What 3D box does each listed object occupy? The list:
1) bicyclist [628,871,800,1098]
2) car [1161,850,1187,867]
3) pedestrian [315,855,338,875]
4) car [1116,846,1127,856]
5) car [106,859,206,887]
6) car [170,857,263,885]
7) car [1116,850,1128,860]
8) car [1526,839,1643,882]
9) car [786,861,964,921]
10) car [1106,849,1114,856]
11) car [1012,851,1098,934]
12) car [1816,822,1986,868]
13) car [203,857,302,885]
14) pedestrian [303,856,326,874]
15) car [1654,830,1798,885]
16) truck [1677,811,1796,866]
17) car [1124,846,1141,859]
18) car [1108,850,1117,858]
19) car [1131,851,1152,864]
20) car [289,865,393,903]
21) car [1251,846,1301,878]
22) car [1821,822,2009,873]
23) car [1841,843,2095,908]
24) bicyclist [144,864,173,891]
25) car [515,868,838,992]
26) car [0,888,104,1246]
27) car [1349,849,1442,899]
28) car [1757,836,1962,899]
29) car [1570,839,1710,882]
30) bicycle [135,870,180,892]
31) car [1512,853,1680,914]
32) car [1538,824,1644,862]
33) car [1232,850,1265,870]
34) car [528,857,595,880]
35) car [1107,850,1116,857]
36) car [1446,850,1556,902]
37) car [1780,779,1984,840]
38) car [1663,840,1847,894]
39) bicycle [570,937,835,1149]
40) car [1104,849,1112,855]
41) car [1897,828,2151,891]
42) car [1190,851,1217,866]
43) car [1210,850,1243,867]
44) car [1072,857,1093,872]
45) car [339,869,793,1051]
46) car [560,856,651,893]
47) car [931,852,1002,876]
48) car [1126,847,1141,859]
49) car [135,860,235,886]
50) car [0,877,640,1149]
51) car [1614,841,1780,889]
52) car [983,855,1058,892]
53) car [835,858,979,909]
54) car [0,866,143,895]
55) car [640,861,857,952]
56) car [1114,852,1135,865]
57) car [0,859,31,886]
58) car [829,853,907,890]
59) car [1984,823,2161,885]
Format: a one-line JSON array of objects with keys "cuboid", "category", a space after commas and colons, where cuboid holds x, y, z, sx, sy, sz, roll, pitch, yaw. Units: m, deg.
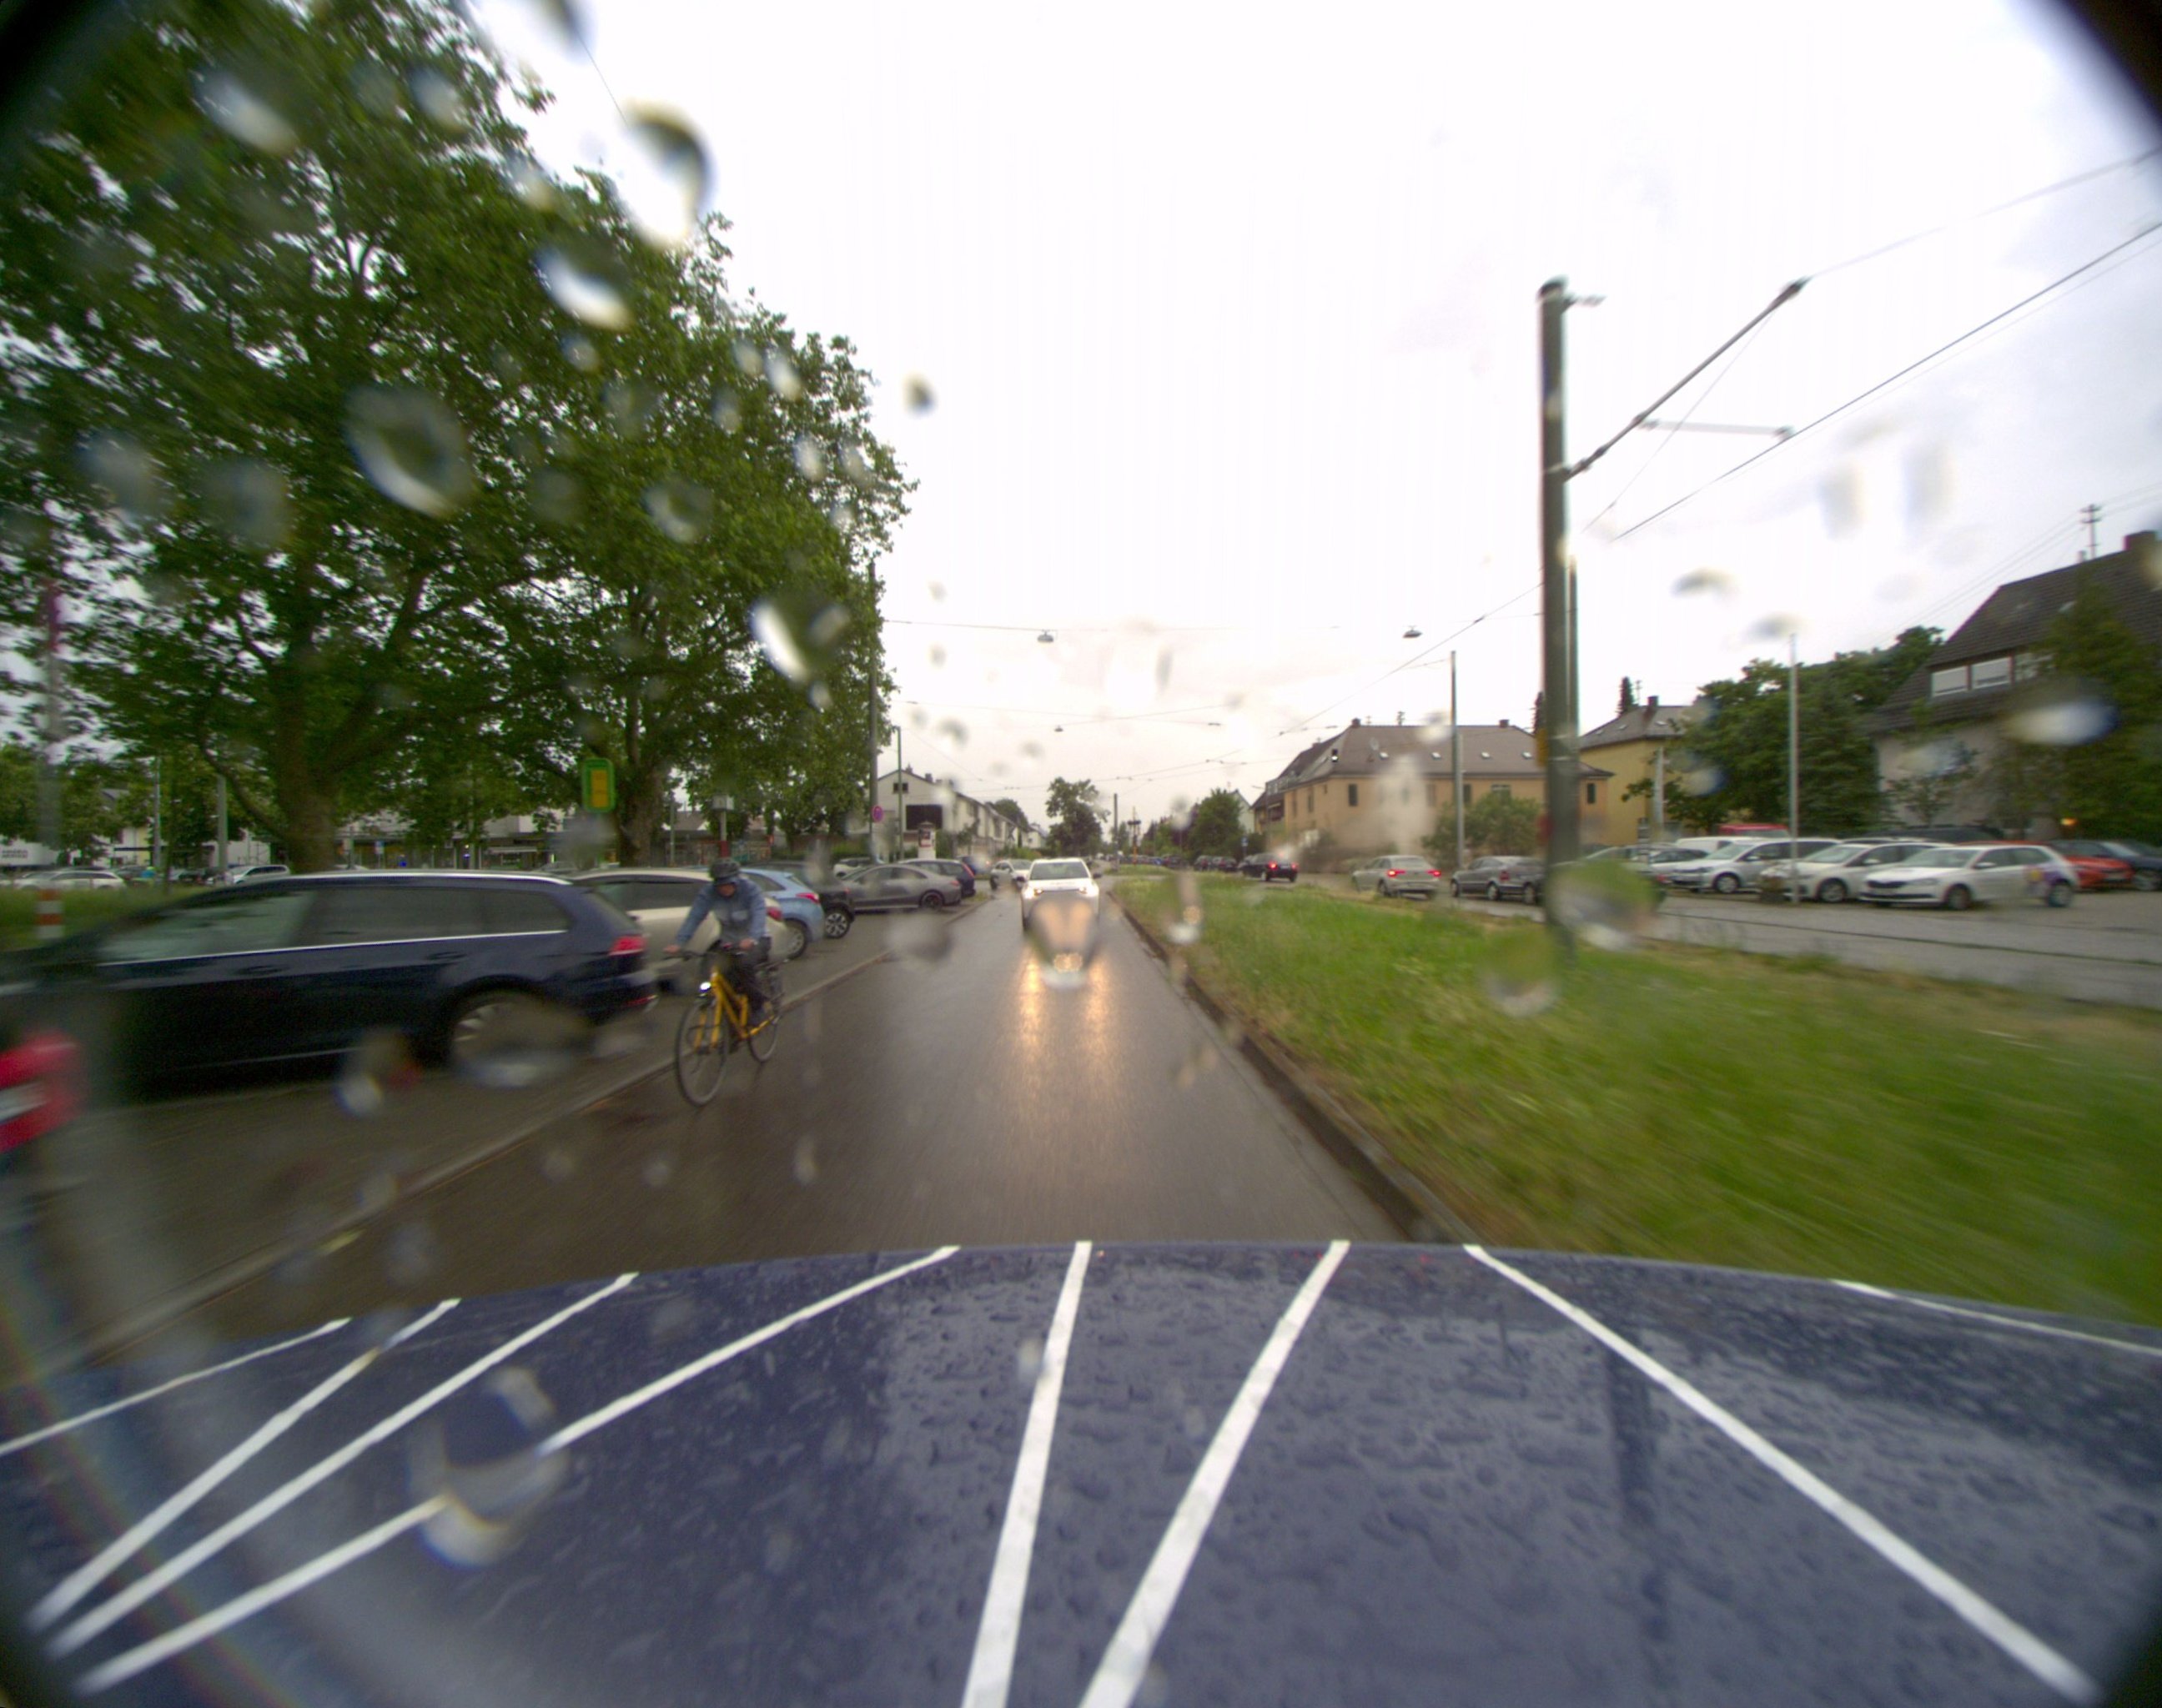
[{"cuboid": [-2.579, 0.868, 5.432, 0.752, 1.476, 0.847, -1, 0, 7], "category": "bicyclist"}, {"cuboid": [10.573, 0.468, 86.933, 2.000, 1.784, 3.995, -1, 2, -7], "category": "car"}, {"cuboid": [-66.075, 0.924, 66.562, 0.946, 1.704, 1.081, 0, 1, 12], "category": "pedestrian"}, {"cuboid": [8.699, -0.602, 163.940, 1.998, 2.023, 3.998, -1, 2, 0], "category": "car"}, {"cuboid": [-64.159, 1.298, 52.820, 1.897, 1.699, 4.090, -1, 2, 0], "category": "car"}, {"cuboid": [-59.425, 1.138, 52.352, 1.792, 1.664, 3.946, -1, 2, 0], "category": "car"}, {"cuboid": [7.813, 0.228, 146.003, 1.999, 1.784, 3.997, -1, 2, -2], "category": "car"}, {"cuboid": [21.147, 0.259, 32.059, 3.989, 1.707, 2.004, -1, 0, 32], "category": "car"}, {"cuboid": [-5.797, 0.974, 21.575, 4.556, 1.467, 1.800, -1, 0, -29], "category": "car"}, {"cuboid": [8.468, -0.435, 222.601, 1.999, 1.784, 3.997, -1, 2, -2], "category": "car"}, {"cuboid": [-0.528, 0.813, 17.833, 1.719, 1.614, 3.714, -3, 1, 1], "category": "car"}, {"cuboid": [32.193, -0.339, 30.076, 1.998, 1.677, 4.447, 0, 0, 2], "category": "car"}, {"cuboid": [-56.995, 1.106, 52.379, 1.998, 1.664, 4.336, -1, 2, 0], "category": "car"}, {"cuboid": [-67.452, 0.930, 66.864, 0.946, 1.575, 1.081, 0, 1, 12], "category": "pedestrian"}, {"cuboid": [25.331, 0.120, 30.097, 1.998, 2.002, 4.447, 0, 0, 2], "category": "car"}, {"cuboid": [29.501, -0.644, 34.488, 1.995, 2.259, 6.112, 0, 0, 19], "category": "truck"}, {"cuboid": [7.187, -0.231, 106.940, 1.999, 1.784, 3.997, -1, 2, -2], "category": "car"}, {"cuboid": [8.516, -0.026, 203.865, 1.999, 1.784, 3.997, -1, 2, -2], "category": "car"}, {"cuboid": [7.078, 0.414, 89.515, 1.999, 1.467, 3.999, -1, 0, -2], "category": "car"}, {"cuboid": [-43.005, 1.703, 44.203, 3.996, 2.003, 1.999, -1, 3, 1], "category": "car"}, {"cuboid": [10.329, 0.390, 40.531, 1.741, 1.478, 3.998, -1, 2, 1], "category": "car"}, {"cuboid": [29.844, -0.219, 27.448, 1.998, 1.677, 4.447, 0, 0, 2], "category": "car"}, {"cuboid": [20.900, 0.472, 18.045, 3.838, 1.388, 1.722, -1, 3, 3], "category": "car"}, {"cuboid": [-52.330, 1.318, 43.093, 0.725, 1.508, 0.697, -2, 2, -17], "category": "bicyclist"}, {"cuboid": [-6.050, 1.036, 11.588, 4.009, 1.492, 1.819, 2, 0, -40], "category": "car"}, {"cuboid": [-6.028, 0.880, 2.176, 3.604, 1.471, 1.634, 1, 0, -26], "category": "car"}, {"cuboid": [10.582, 0.623, 25.828, 1.605, 1.416, 3.818, -1, 2, 0], "category": "car"}, {"cuboid": [20.903, 0.342, 20.533, 3.613, 1.564, 1.722, -1, 3, 3], "category": "car"}, {"cuboid": [21.133, 0.192, 28.949, 4.047, 1.496, 1.836, 1, 3, 28], "category": "car"}, {"cuboid": [-52.307, 1.523, 43.062, 0.729, 1.123, 1.751, -2, 1, -17], "category": "bicycle"}, {"cuboid": [13.902, 0.723, 20.879, 1.721, 1.331, 4.387, -1, 2, 1], "category": "car"}, {"cuboid": [22.803, -0.462, 34.105, 3.861, 1.569, 1.811, -1, 0, 32], "category": "car"}, {"cuboid": [13.199, 0.443, 60.051, 1.722, 1.331, 3.614, -1, 2, -3], "category": "car"}, {"cuboid": [-37.461, 1.033, 54.893, 3.625, 1.495, 1.549, -1, 3, -17], "category": "car"}, {"cuboid": [8.444, -0.072, 209.903, 1.999, 1.784, 3.997, -1, 2, -2], "category": "car"}, {"cuboid": [13.911, 0.674, 25.392, 1.721, 1.496, 3.642, -1, 2, 2], "category": "car"}, {"cuboid": [24.709, -1.297, 23.732, 1.759, 1.677, 4.447, 0, 0, 2], "category": "car"}, {"cuboid": [20.639, 0.396, 23.426, 3.865, 1.569, 1.809, -1, 0, 11], "category": "car"}, {"cuboid": [-2.572, 1.223, 5.482, 0.754, 1.066, 1.928, -1, -1, 7], "category": "bicycle"}, {"cuboid": [8.137, -0.599, 229.535, 1.999, 1.784, 3.997, -1, 2, -2], "category": "car"}, {"cuboid": [27.407, 0.143, 22.385, 1.998, 1.677, 4.447, 0, 0, 2], "category": "car"}, {"cuboid": [11.798, 0.411, 73.215, 1.759, 1.325, 3.997, -1, 2, -3], "category": "car"}, {"cuboid": [12.842, 0.388, 67.328, 1.966, 1.388, 4.503, -1, 1, -2], "category": "car"}, {"cuboid": [0.234, 1.215, 89.341, 1.787, 1.454, 4.001, 0, 2, 10], "category": "car"}, {"cuboid": [-5.727, 1.006, 8.906, 4.008, 1.544, 1.955, 0, 2, -36], "category": "car"}, {"cuboid": [-28.070, 1.216, 44.952, 3.996, 2.003, 1.999, -1, 3, 1], "category": "car"}, {"cuboid": [-8.085, 0.697, 53.744, 4.566, 1.597, 2.001, 0, 3, 9], "category": "car"}, {"cuboid": [8.120, -0.157, 117.501, 1.999, 1.784, 3.997, -1, 2, -2], "category": "car"}, {"cuboid": [-61.804, 1.298, 52.534, 1.998, 1.562, 4.090, -1, 2, 0], "category": "car"}, {"cuboid": [-5.691, 0.939, 5.624, 4.130, 1.471, 1.861, 1, 0, -32], "category": "car"}, {"cuboid": [21.114, 0.351, 26.241, 4.050, 1.496, 1.835, 0, 3, 17], "category": "car"}, {"cuboid": [-2.958, 0.897, 36.205, 1.967, 1.544, 3.989, 0, 1, -31], "category": "car"}, {"cuboid": [-5.640, 0.887, 24.708, 4.184, 1.467, 1.800, -1, 0, -30], "category": "car"}, {"cuboid": [-54.353, 1.396, 40.733, 1.998, 1.449, 4.844, -1, -1, 2], "category": "car"}, {"cuboid": [-6.364, 0.921, 14.646, 3.524, 1.497, 1.749, 1, 1, -36], "category": "car"}, {"cuboid": [4.885, 0.493, 86.395, 1.999, 1.467, 3.999, -1, 0, -2], "category": "car"}, {"cuboid": [-78.542, 1.388, 53.837, 1.897, 1.932, 4.548, -1, 2, 0], "category": "car"}, {"cuboid": [-12.662, 1.031, 45.300, 3.994, 2.003, 2.000, 0, 3, 8], "category": "car"}, {"cuboid": [29.890, -0.001, 22.116, 1.998, 1.677, 4.447, 0, 0, 2], "category": "car"}]
